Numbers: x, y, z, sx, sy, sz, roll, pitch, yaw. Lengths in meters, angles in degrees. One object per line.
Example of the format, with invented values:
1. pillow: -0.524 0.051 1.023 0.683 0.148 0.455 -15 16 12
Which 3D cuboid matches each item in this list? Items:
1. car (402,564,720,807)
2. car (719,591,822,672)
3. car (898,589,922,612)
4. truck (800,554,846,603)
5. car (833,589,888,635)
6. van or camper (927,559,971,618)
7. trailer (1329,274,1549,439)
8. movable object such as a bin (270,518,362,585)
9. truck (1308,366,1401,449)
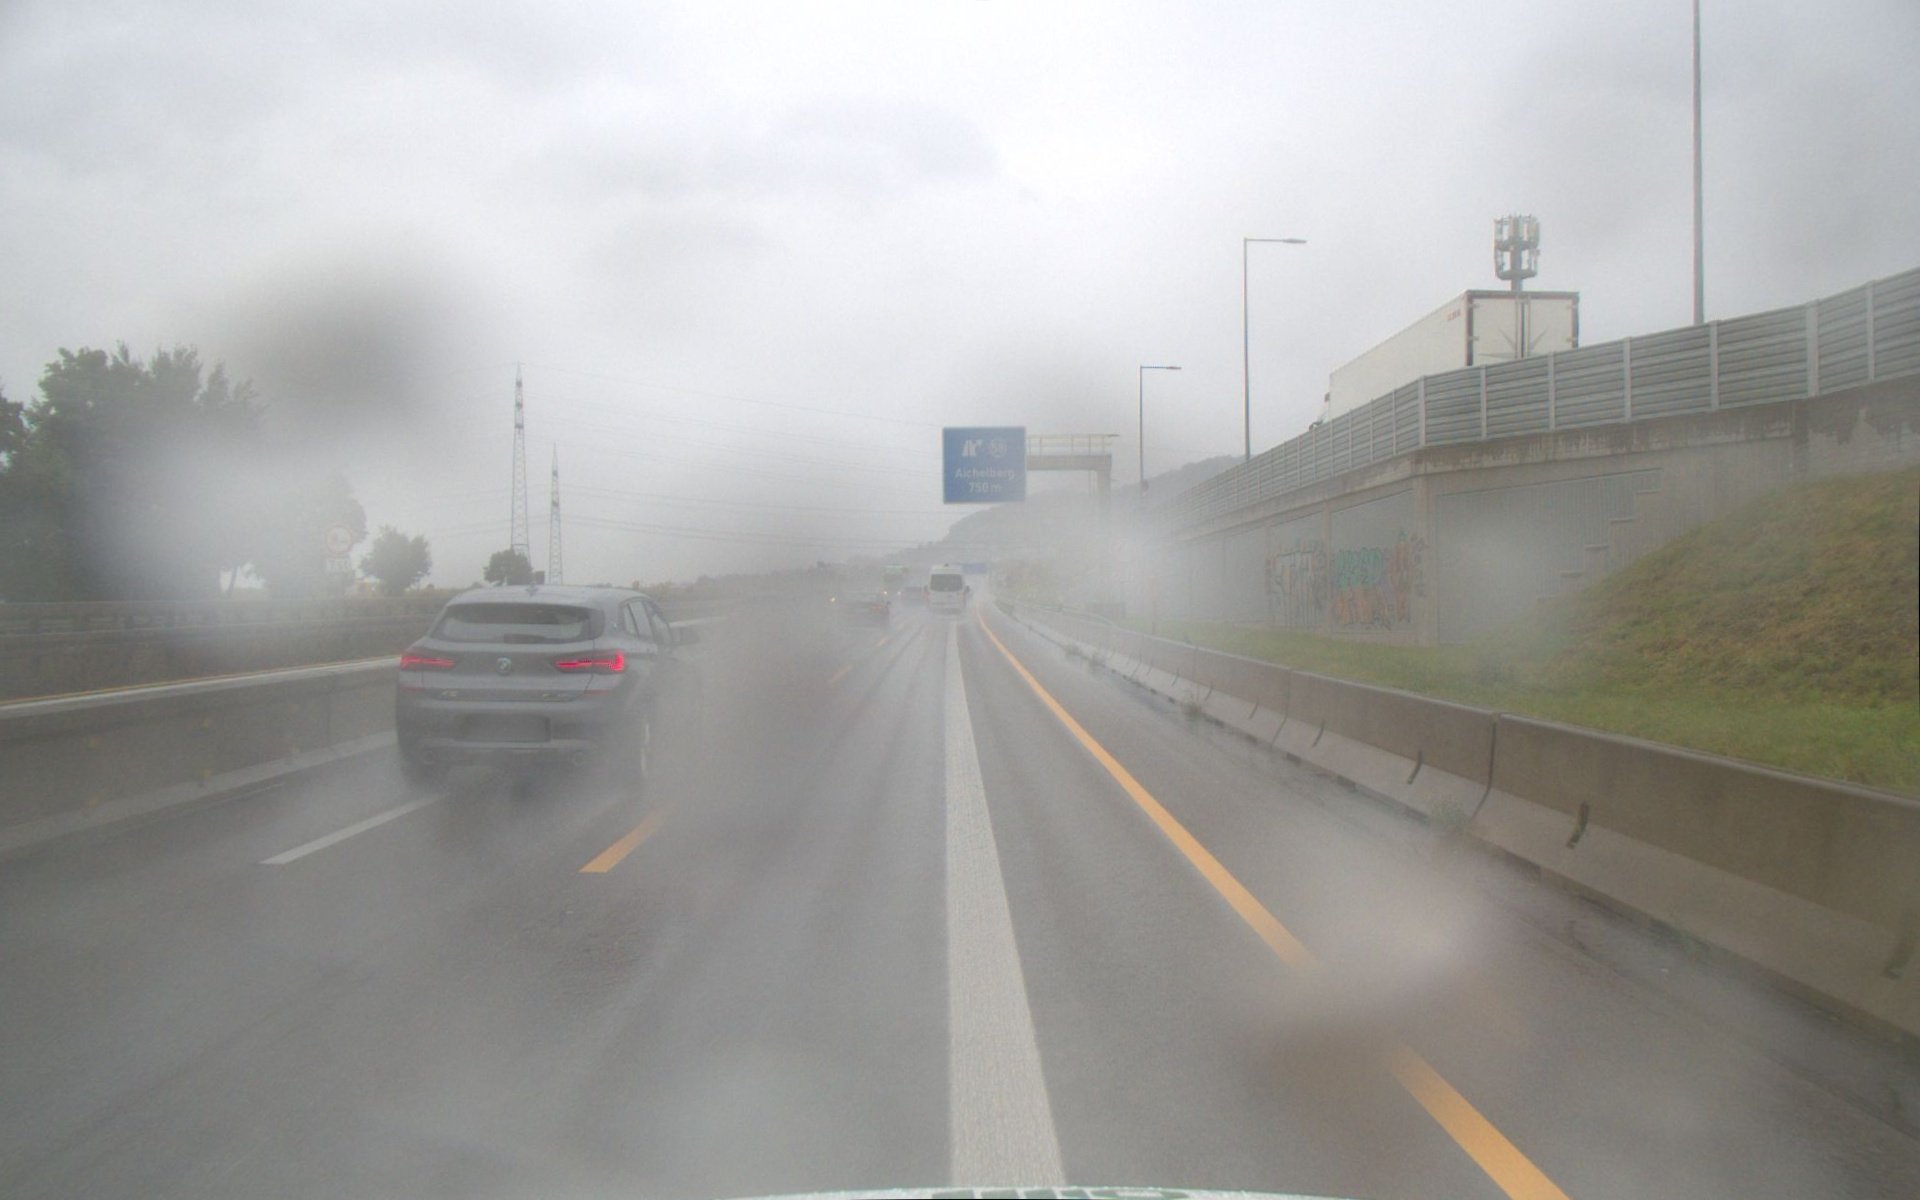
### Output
1. car: -3.037 0.617 13.573 1.667 1.626 4.841 1 -1 -3
2. car: -3.778 0.627 33.529 1.807 1.517 4.258 1 -1 -3
3. car: -3.573 0.047 117.612 1.536 1.506 2.818 -2 -1 -5
4. truck: -10.021 -1.574 121.866 2.585 3.406 9.553 1 1 0
5. car: -3.531 0.392 58.812 1.808 1.517 4.259 -2 1 -3
6. van or camper: -0.562 -0.539 81.565 1.956 2.826 4.046 1 -1 -3
7. trailer: 12.349 -6.181 44.235 1.952 2.143 13.767 1 -1 0
8. movable object such as a bin: -41.782 -3.073 107.619 2.673 3.988 8.462 1 -1 0
9. truck: 12.334 -6.010 51.972 1.953 2.049 4.058 1 -1 0
